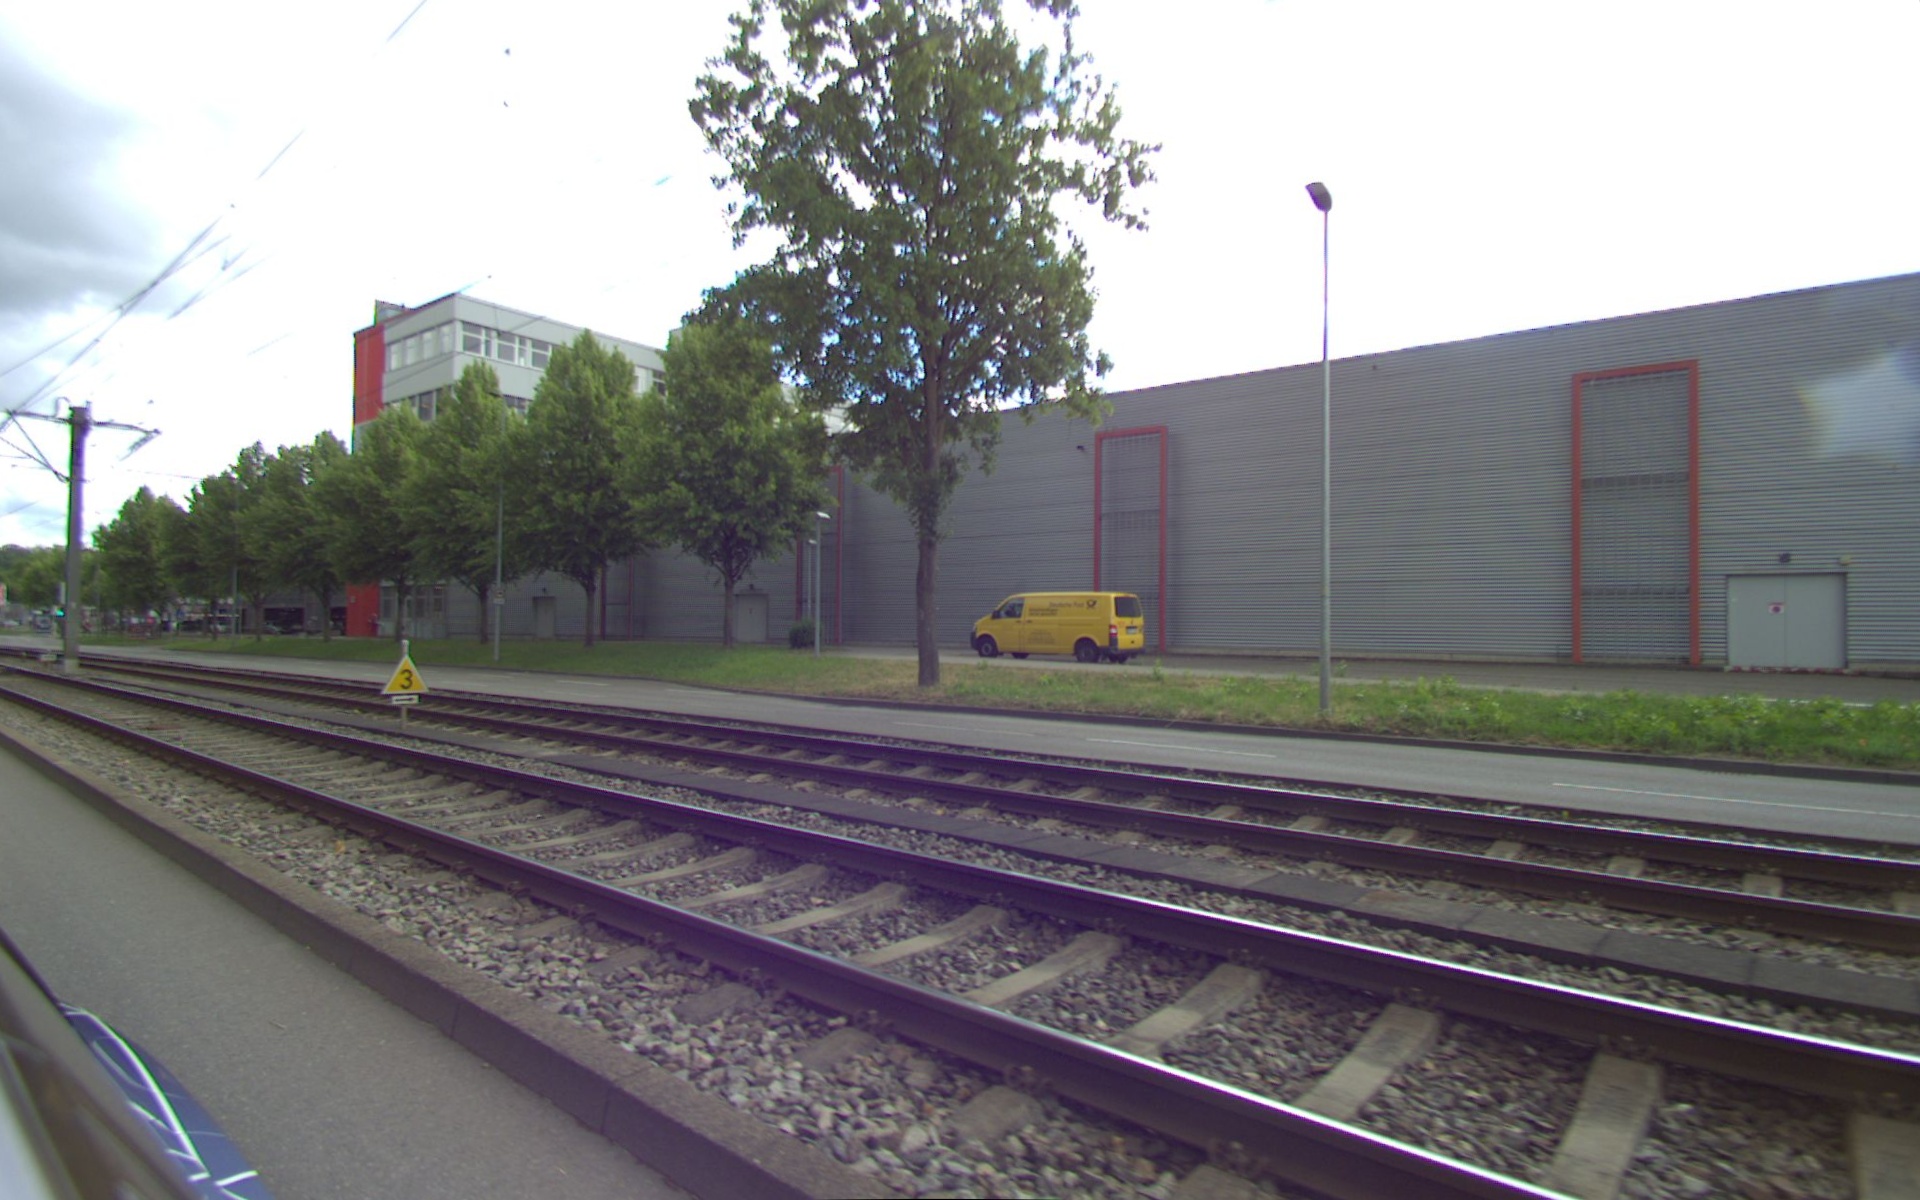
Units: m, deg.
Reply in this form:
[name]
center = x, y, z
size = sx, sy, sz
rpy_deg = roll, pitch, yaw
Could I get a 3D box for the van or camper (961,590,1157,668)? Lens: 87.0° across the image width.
[van or camper]
center = 2.721, 0.827, 28.635
size = 5.235, 2.029, 2.083
rpy_deg = -1, -2, 38

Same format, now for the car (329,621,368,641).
[car]
center = -63.693, 3.211, 105.369
size = 4.399, 2.029, 1.975
rpy_deg = -1, -2, 38
